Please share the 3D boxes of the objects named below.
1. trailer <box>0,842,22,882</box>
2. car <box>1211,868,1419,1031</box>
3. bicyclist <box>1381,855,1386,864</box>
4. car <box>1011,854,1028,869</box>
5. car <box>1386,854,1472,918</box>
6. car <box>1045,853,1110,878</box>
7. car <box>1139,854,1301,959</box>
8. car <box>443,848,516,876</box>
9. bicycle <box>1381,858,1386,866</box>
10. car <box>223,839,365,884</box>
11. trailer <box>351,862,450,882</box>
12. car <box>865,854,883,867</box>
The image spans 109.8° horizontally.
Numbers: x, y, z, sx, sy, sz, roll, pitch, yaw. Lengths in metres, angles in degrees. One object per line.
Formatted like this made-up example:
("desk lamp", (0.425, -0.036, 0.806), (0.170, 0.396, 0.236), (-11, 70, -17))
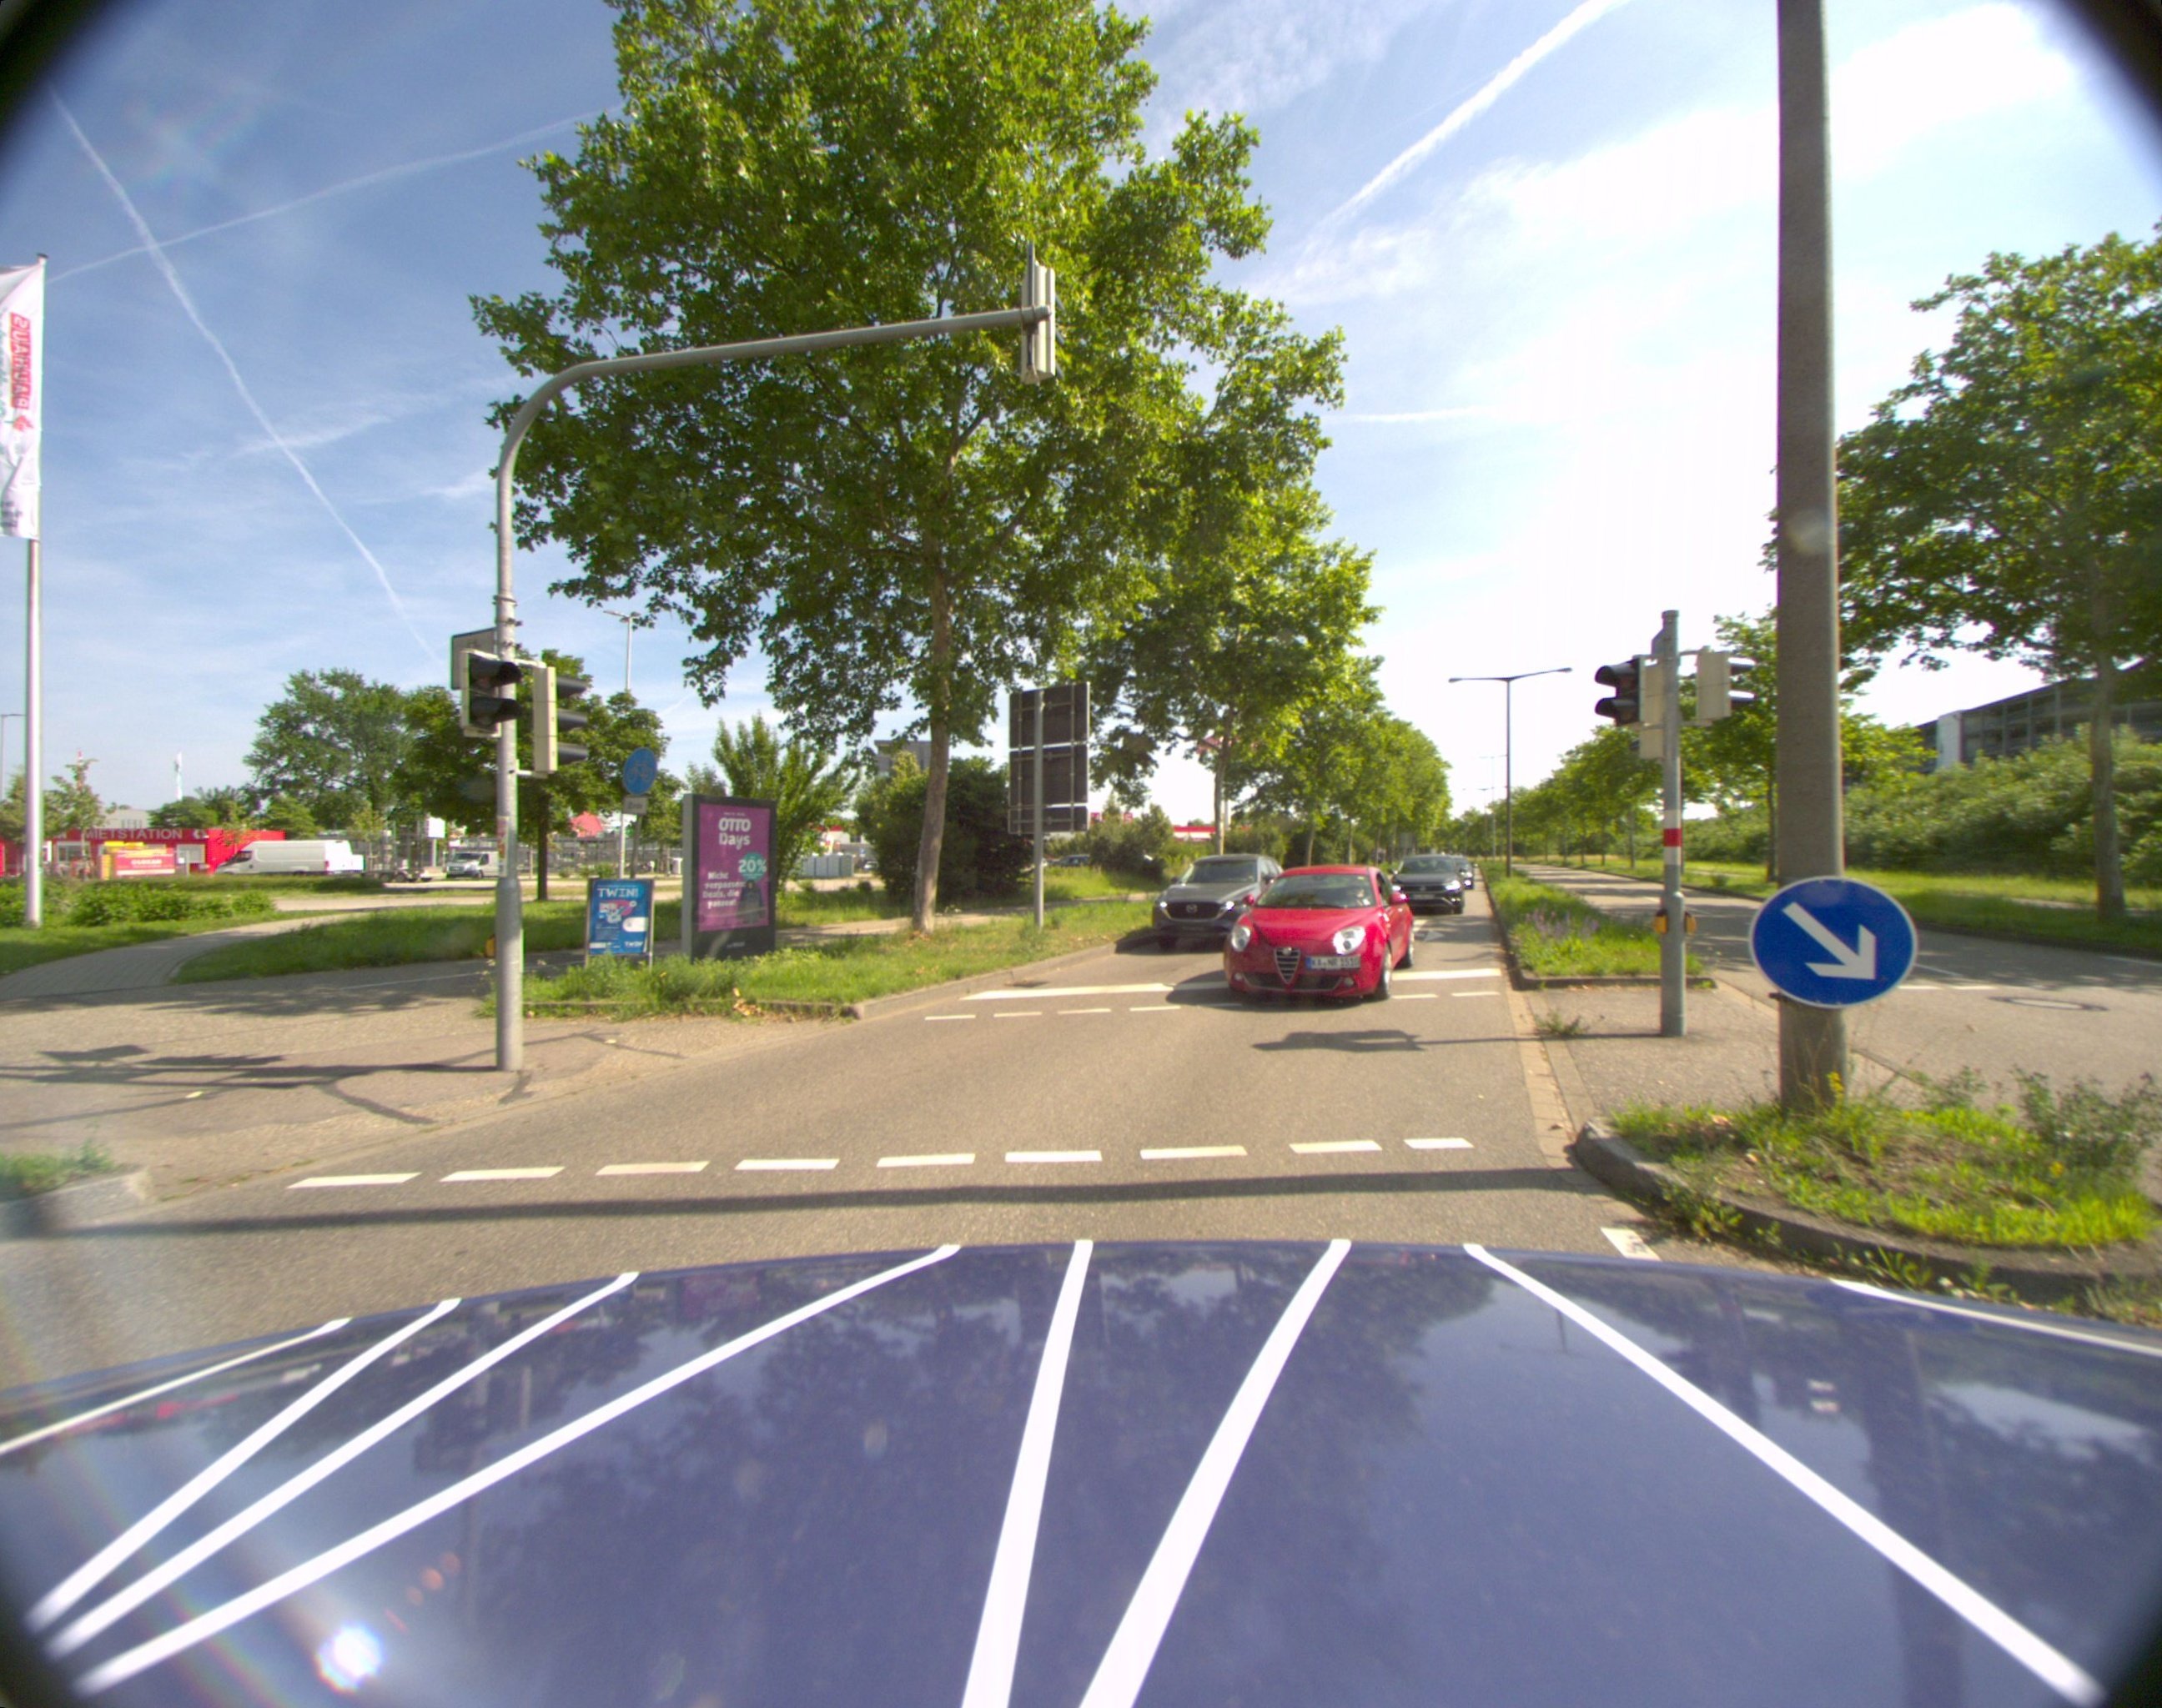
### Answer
("trailer", (-64.095, 0.458, 43.186), (1.751, 2.362, 4.410), (0, 0, -4))
("car", (3.027, 0.958, 9.222), (1.655, 1.430, 3.915), (-2, 0, 28))
("bicyclist", (52.673, 1.005, 132.351), (0.685, 1.622, 1.004), (0, 1, 28))
("car", (-6.739, 0.747, 82.775), (1.690, 1.565, 3.997), (0, 0, -8))
("car", (9.528, 0.785, 20.627), (1.870, 1.536, 4.089), (-1, 0, 28))
("car", (-0.208, 0.734, 49.943), (3.853, 1.576, 1.852), (0, 1, 21))
("car", (2.840, 0.881, 14.591), (1.767, 1.649, 4.504), (-2, 0, 27))
("car", (-41.613, 0.553, 52.739), (1.875, 1.805, 4.827), (1, -1, -10))
("bicycle", (52.664, 1.410, 132.336), (0.685, 1.230, 1.938), (0, 1, 28))
("car", (-46.989, 0.400, 45.498), (5.689, 2.528, 2.017), (0, 3, -10))
("trailer", (-41.430, 1.075, 46.341), (4.031, 1.116, 2.067), (0, 2, -6))
("car", (-26.647, 0.843, 97.724), (1.690, 1.565, 3.997), (0, 0, -8))
